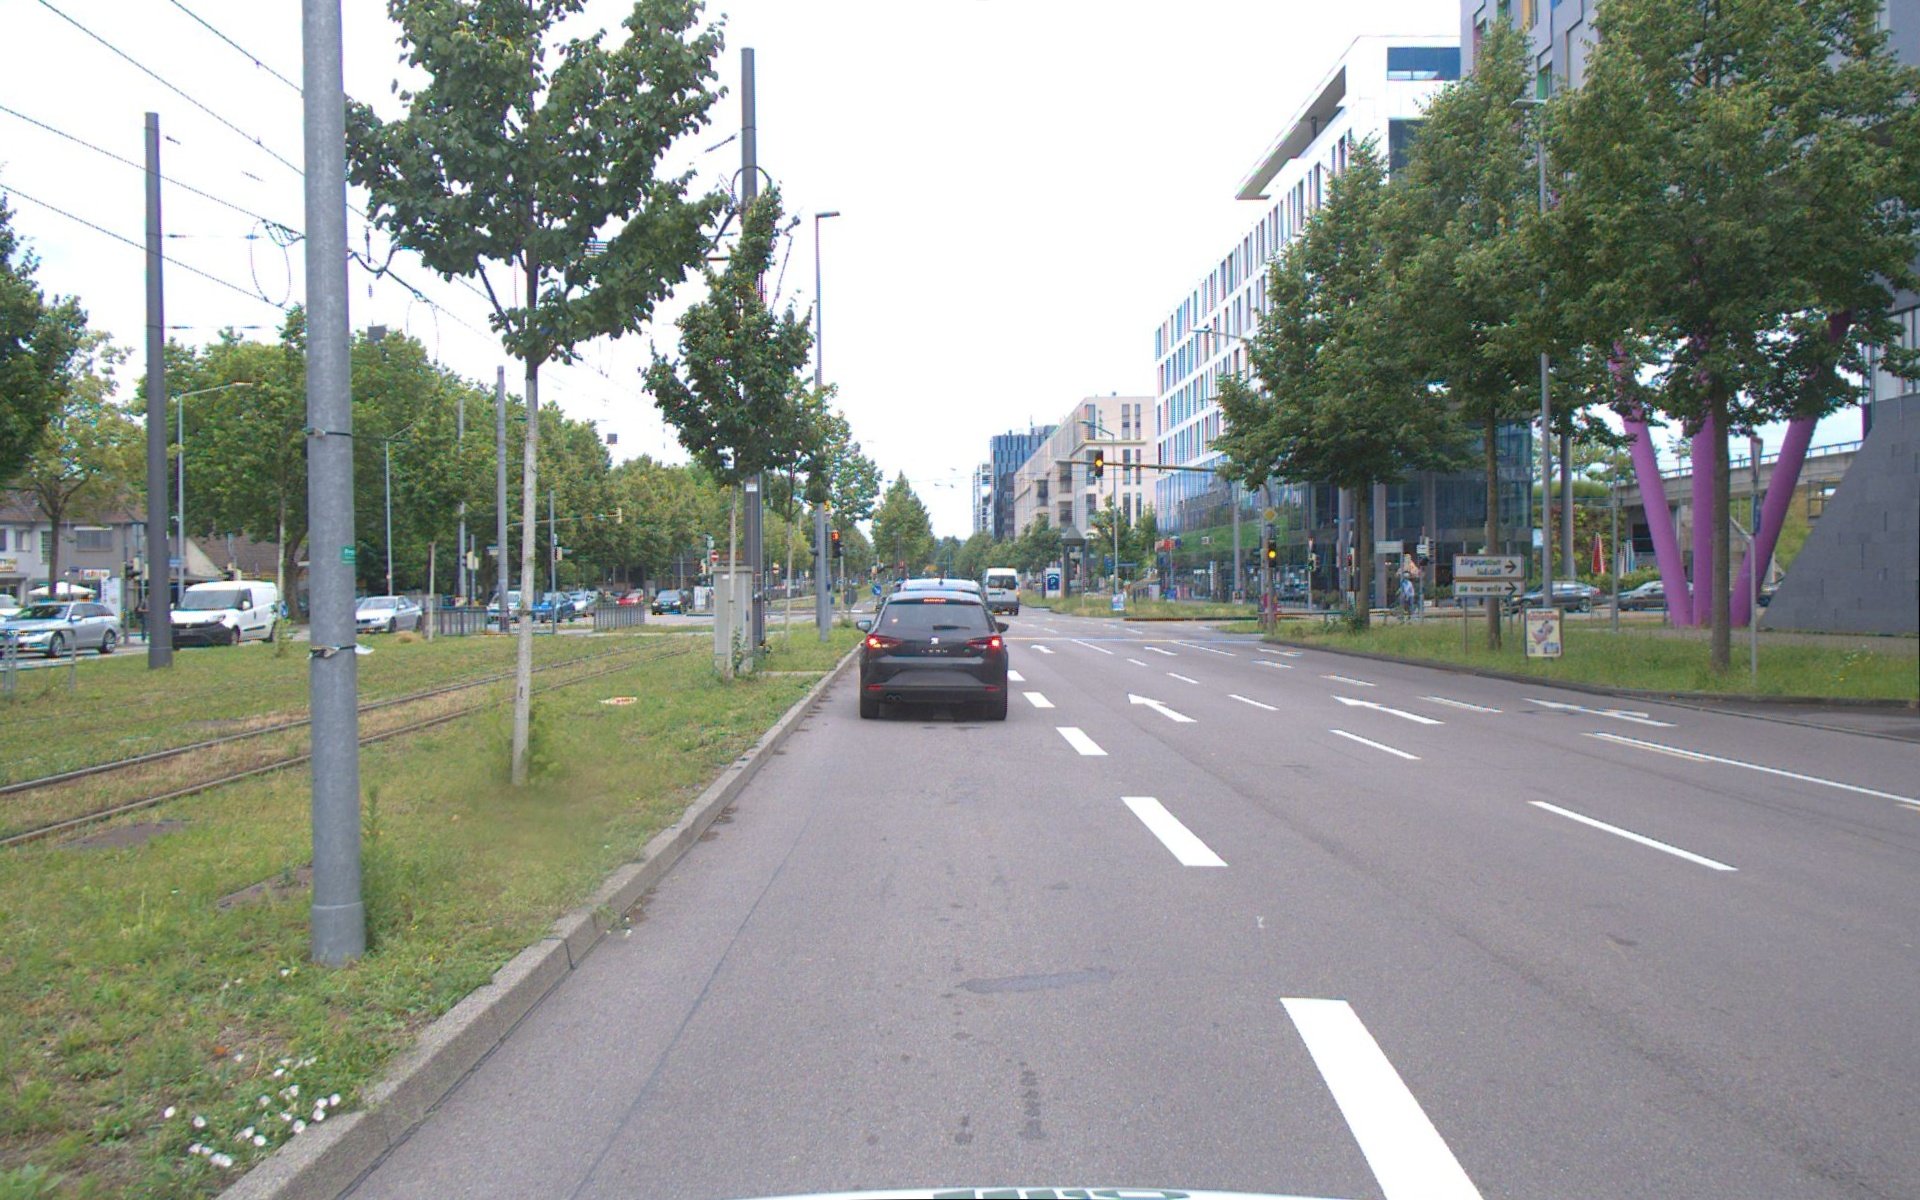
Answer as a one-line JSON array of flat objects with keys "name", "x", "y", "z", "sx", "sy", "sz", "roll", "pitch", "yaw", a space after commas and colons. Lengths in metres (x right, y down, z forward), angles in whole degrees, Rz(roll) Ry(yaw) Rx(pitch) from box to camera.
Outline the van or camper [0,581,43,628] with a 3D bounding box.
[{"name": "van or camper", "x": -44.200, "y": 0.218, "z": 74.882, "sx": 5.167, "sy": 2.049, "sz": 2.460, "roll": 0, "pitch": 1, "yaw": 31}]

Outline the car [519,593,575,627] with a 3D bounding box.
[{"name": "car", "x": -20.930, "y": 0.492, "z": 83.921, "sx": 1.925, "sy": 1.616, "sz": 4.686, "roll": 0, "pitch": 1, "yaw": -3}]

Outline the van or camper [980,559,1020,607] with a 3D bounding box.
[{"name": "van or camper", "x": 2.163, "y": -0.970, "z": 90.684, "sx": 2.066, "sy": 2.396, "sz": 4.924, "roll": 0, "pitch": 3, "yaw": -1}]

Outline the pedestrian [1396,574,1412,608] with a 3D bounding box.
[{"name": "pedestrian", "x": 21.824, "y": -0.446, "z": 81.341, "sx": 0.602, "sy": 1.632, "sz": 0.619, "roll": -1, "pitch": 1, "yaw": 1}]

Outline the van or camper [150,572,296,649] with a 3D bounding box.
[{"name": "van or camper", "x": -20.137, "y": 0.239, "z": 45.445, "sx": 1.851, "sy": 1.933, "sz": 5.122, "roll": -2, "pitch": 1, "yaw": -3}]

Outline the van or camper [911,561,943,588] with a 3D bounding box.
[{"name": "van or camper", "x": -2.100, "y": -1.656, "z": 106.232, "sx": 1.953, "sy": 1.643, "sz": 4.789, "roll": 0, "pitch": 2, "yaw": -1}]

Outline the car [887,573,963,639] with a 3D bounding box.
[{"name": "car", "x": -0.921, "y": 0.114, "z": 45.803, "sx": 1.952, "sy": 1.711, "sz": 4.001, "roll": 1, "pitch": 1, "yaw": 1}]

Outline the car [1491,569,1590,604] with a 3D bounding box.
[{"name": "car", "x": 27.916, "y": -0.660, "z": 79.629, "sx": 4.163, "sy": 1.643, "sz": 1.758, "roll": -1, "pitch": 1, "yaw": 0}]

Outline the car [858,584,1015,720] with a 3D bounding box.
[{"name": "car", "x": -0.321, "y": 0.556, "z": 20.147, "sx": 1.708, "sy": 1.442, "sz": 3.999, "roll": 1, "pitch": 1, "yaw": -2}]

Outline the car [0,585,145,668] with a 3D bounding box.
[{"name": "car", "x": -24.273, "y": 0.650, "z": 44.631, "sx": 1.953, "sy": 2.048, "sz": 5.294, "roll": -1, "pitch": 1, "yaw": -1}]

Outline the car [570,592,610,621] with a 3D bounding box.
[{"name": "car", "x": -23.058, "y": 0.369, "z": 103.211, "sx": 1.687, "sy": 1.672, "sz": 4.672, "roll": -1, "pitch": 1, "yaw": -3}]

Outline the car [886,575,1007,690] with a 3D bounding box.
[{"name": "car", "x": -0.235, "y": 0.441, "z": 26.299, "sx": 1.766, "sy": 1.652, "sz": 3.999, "roll": -1, "pitch": 1, "yaw": -1}]

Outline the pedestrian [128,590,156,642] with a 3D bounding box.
[{"name": "pedestrian", "x": -29.797, "y": 0.562, "z": 60.282, "sx": 0.766, "sy": 1.864, "sz": 0.771, "roll": -1, "pitch": 1, "yaw": -18}]

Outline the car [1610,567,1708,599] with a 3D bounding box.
[{"name": "car", "x": 33.821, "y": -0.833, "z": 80.067, "sx": 3.997, "sy": 1.480, "sz": 1.758, "roll": -1, "pitch": 1, "yaw": 0}]

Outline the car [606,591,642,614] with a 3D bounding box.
[{"name": "car", "x": -24.965, "y": 0.174, "z": 123.130, "sx": 1.759, "sy": 1.598, "sz": 4.328, "roll": -1, "pitch": 1, "yaw": 0}]

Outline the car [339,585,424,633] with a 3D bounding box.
[{"name": "car", "x": -20.784, "y": 0.294, "z": 59.641, "sx": 1.695, "sy": 1.470, "sz": 4.917, "roll": -3, "pitch": 2, "yaw": -5}]

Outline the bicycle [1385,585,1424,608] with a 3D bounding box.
[{"name": "bicycle", "x": 21.850, "y": -0.178, "z": 81.344, "sx": 1.755, "sy": 1.104, "sz": 0.618, "roll": -1, "pitch": 1, "yaw": 0}]
